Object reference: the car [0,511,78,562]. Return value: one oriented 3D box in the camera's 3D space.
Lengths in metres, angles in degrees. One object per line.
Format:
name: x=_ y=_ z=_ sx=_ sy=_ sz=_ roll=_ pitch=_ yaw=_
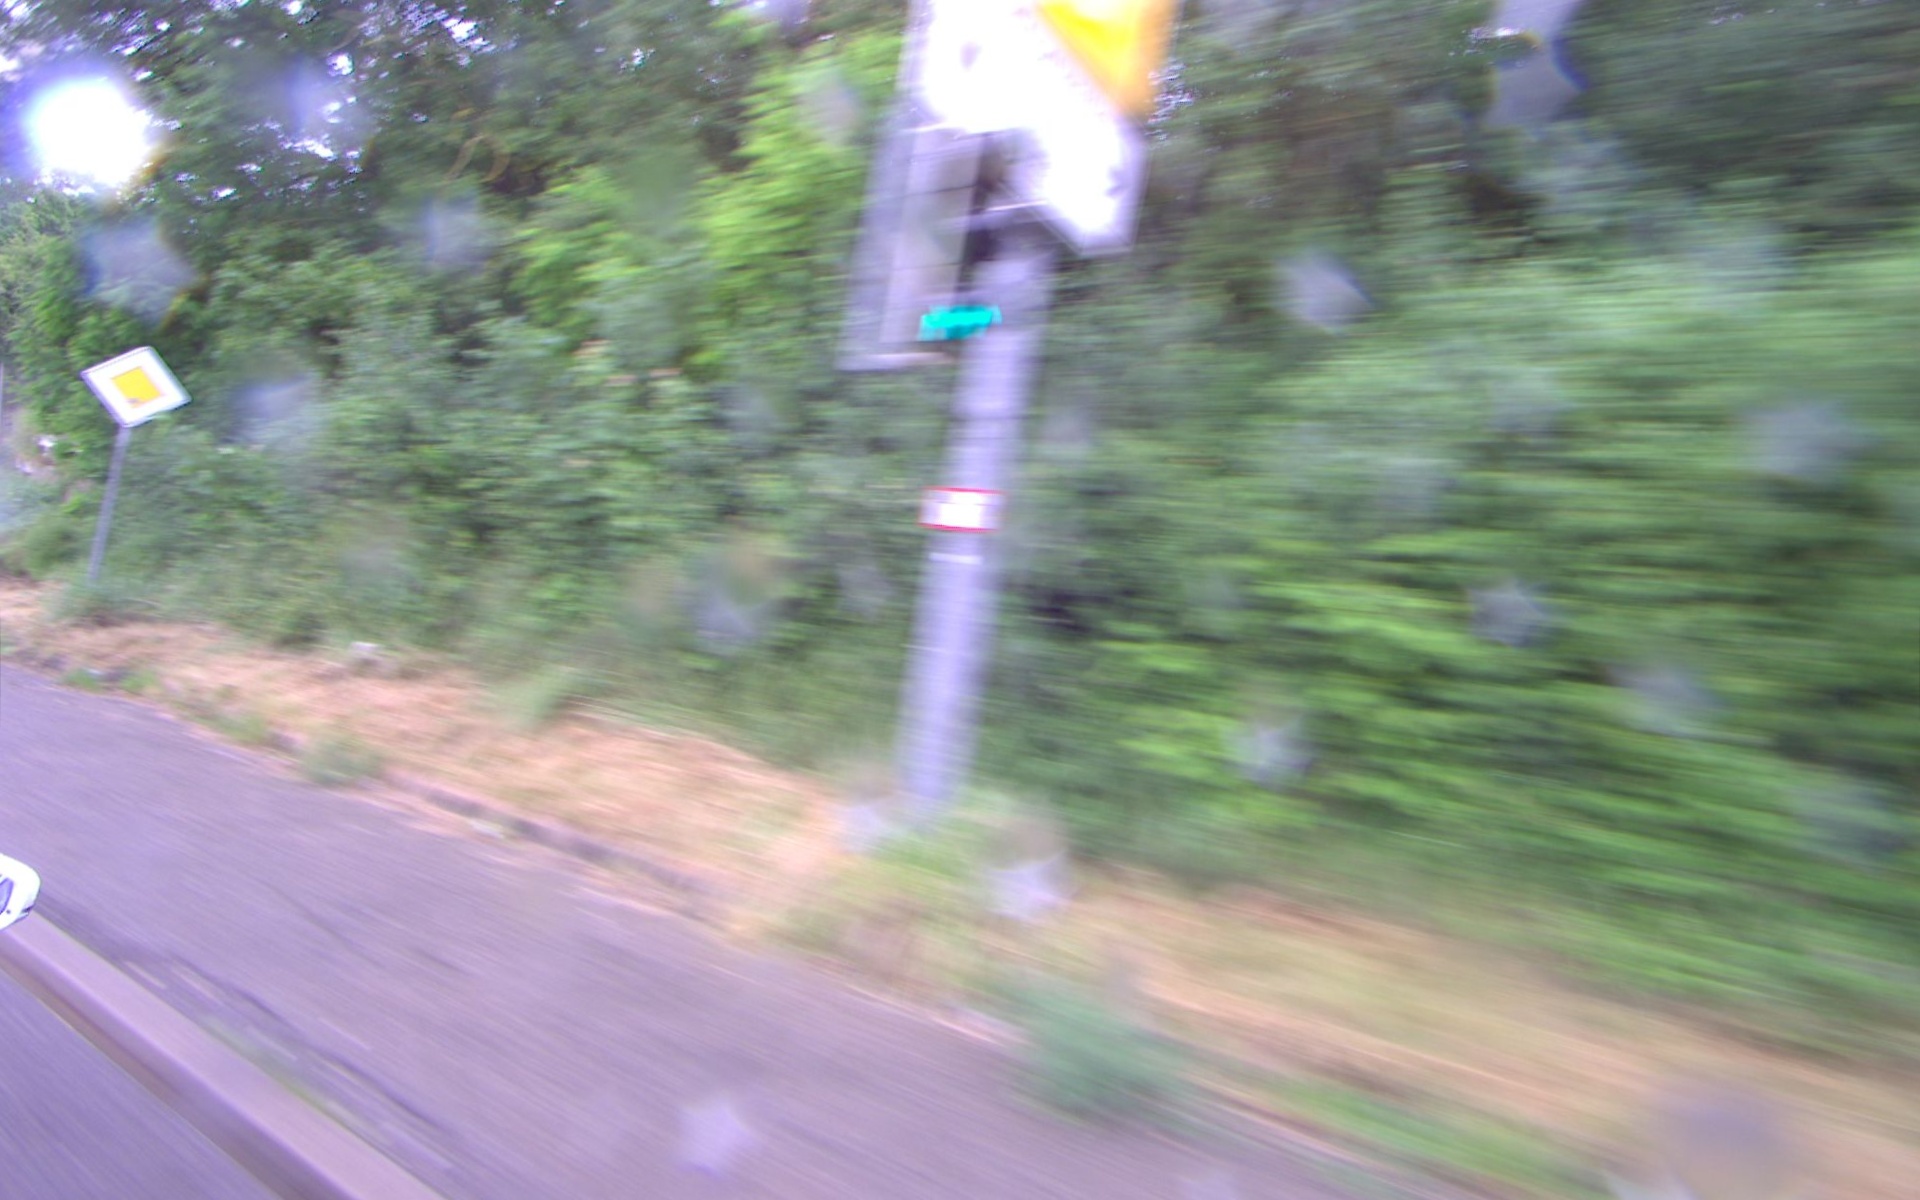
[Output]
car: x=-37.204 y=-2.599 z=39.318 sx=1.464 sy=1.681 sz=3.712 roll=6 pitch=-2 yaw=25
